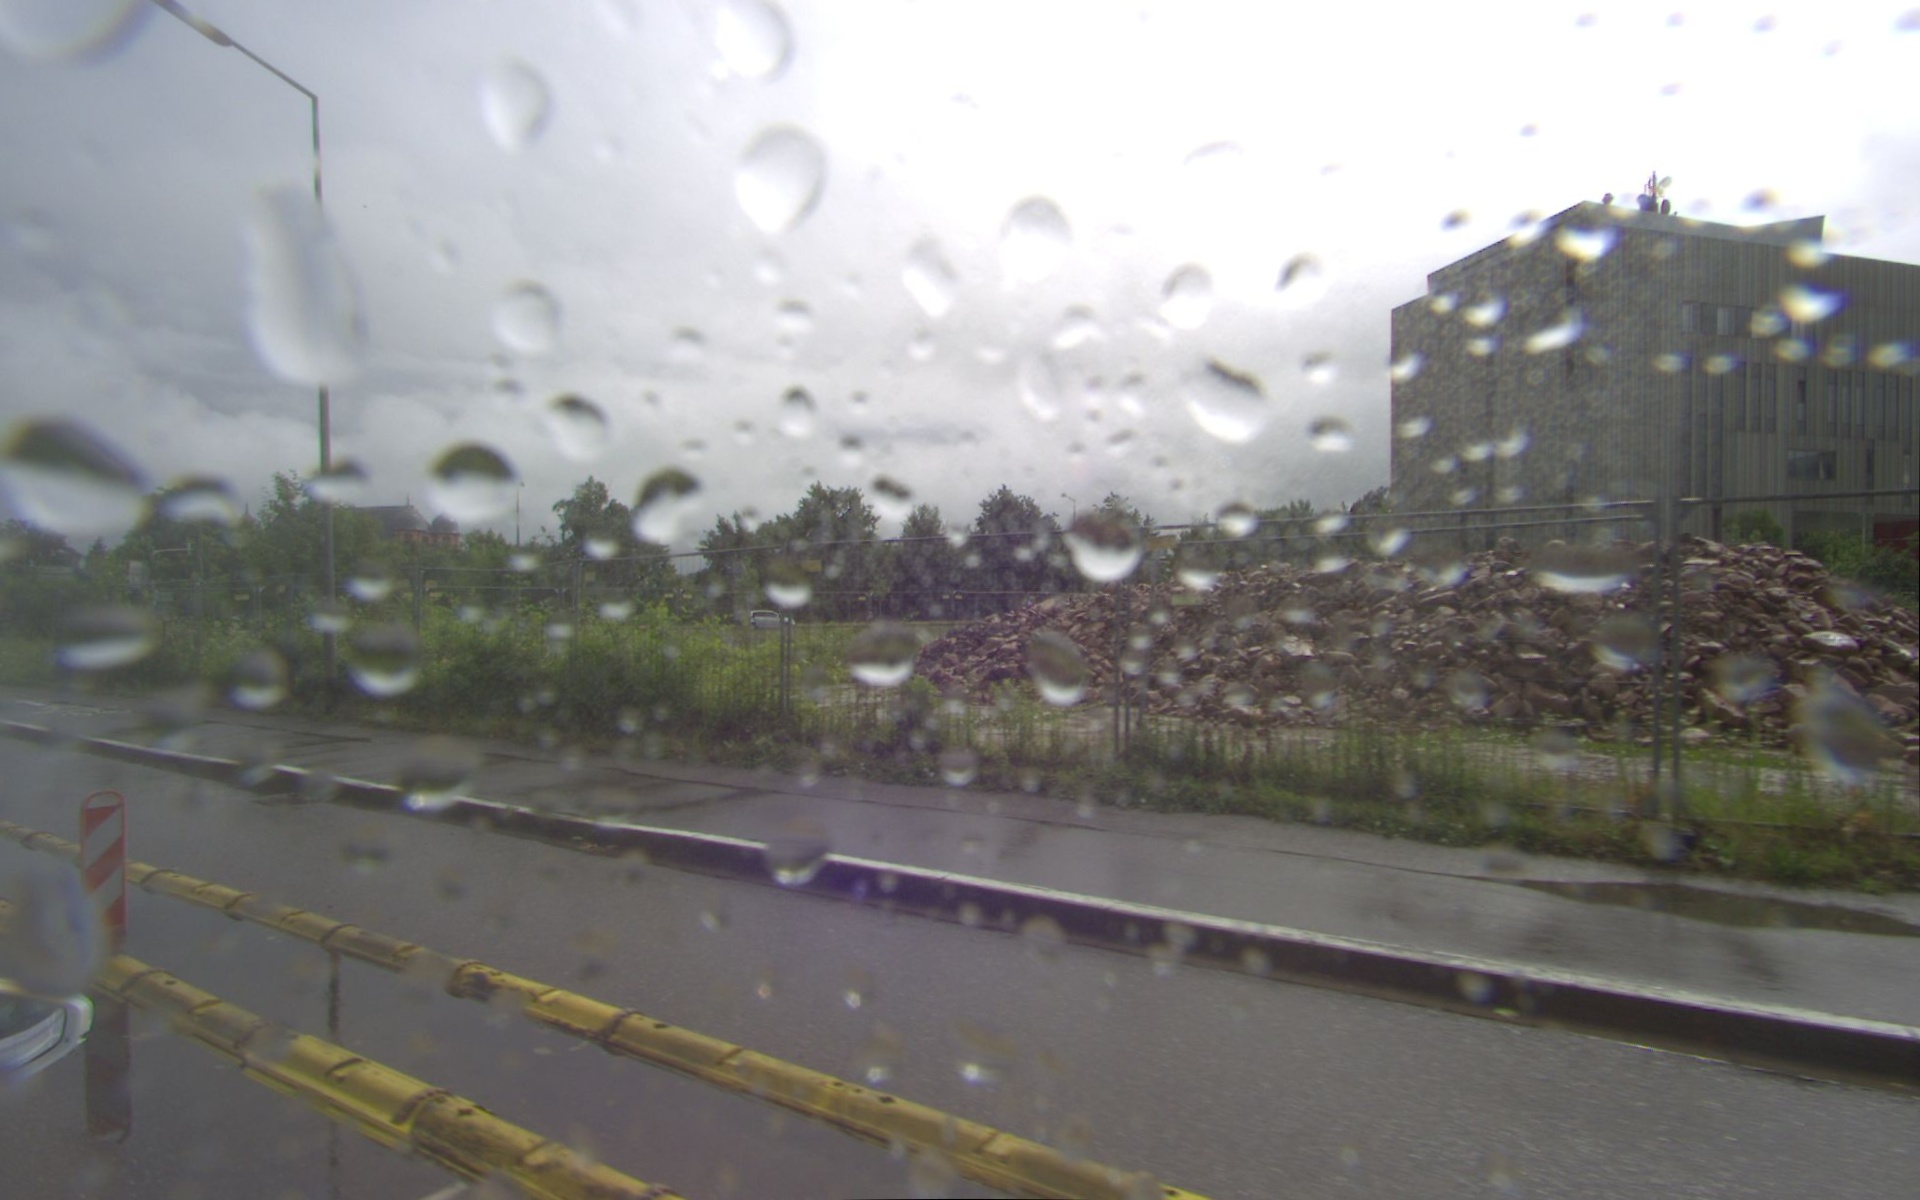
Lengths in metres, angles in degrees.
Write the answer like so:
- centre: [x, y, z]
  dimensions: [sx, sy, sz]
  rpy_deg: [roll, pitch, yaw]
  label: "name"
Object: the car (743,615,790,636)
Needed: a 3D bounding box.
- centre: [-15.107, 1.941, 78.130]
  dimensions: [3.467, 1.567, 1.628]
  rpy_deg: [0, 0, -17]
  label: "car"
